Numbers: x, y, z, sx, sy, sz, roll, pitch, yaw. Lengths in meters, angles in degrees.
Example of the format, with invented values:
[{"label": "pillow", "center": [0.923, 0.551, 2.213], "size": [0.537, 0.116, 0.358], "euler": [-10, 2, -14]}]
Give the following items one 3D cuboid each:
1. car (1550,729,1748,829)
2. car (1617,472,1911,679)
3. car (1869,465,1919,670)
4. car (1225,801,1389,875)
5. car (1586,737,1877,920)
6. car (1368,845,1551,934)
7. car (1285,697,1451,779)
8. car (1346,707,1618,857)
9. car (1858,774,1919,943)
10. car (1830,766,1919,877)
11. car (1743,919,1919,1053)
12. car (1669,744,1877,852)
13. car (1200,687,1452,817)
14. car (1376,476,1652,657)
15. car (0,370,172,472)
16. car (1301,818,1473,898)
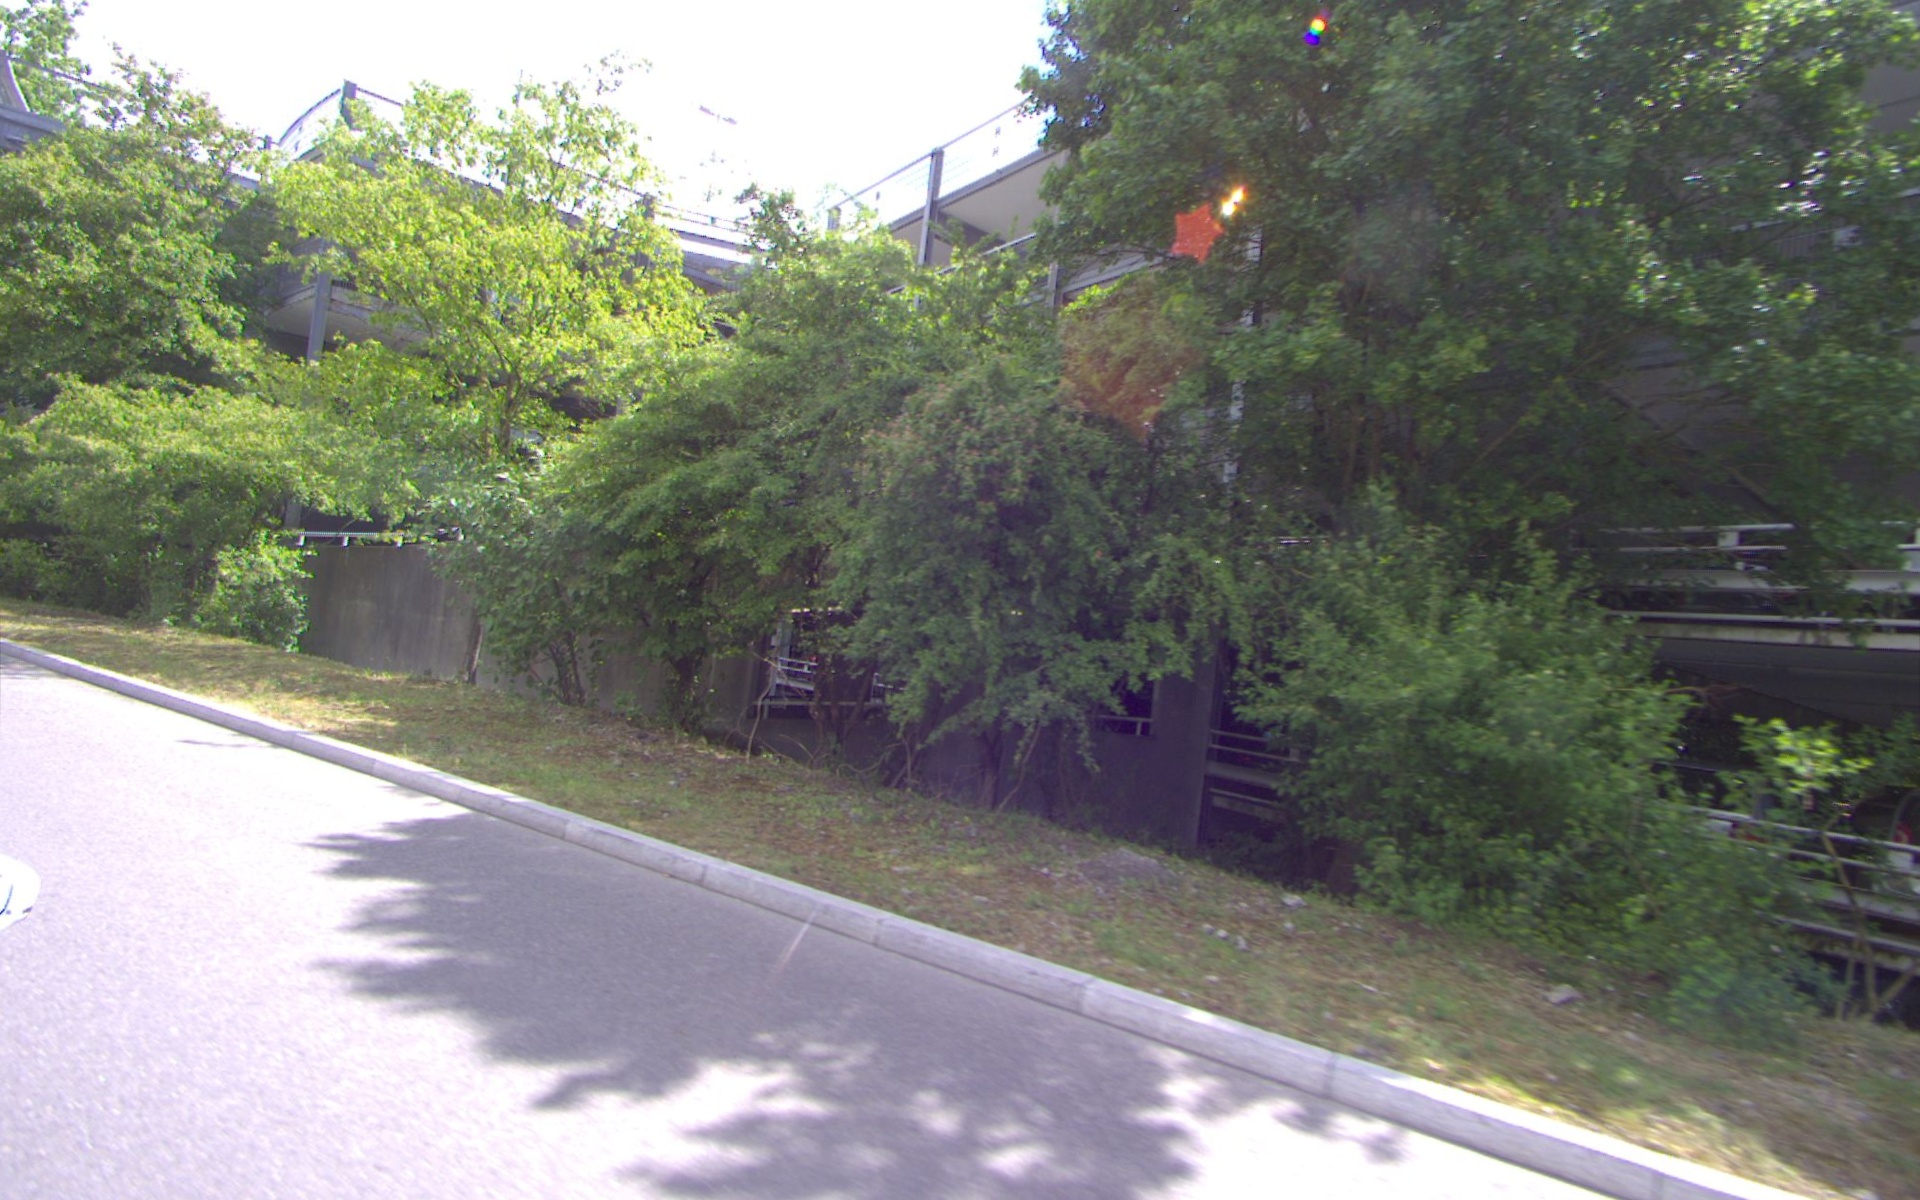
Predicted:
[{"label": "car", "center": [15.110, 3.934, 22.014], "size": [4.288, 1.649, 1.983], "euler": [10, -2, -33]}, {"label": "car", "center": [9.138, -0.189, 11.343], "size": [3.747, 1.643, 1.649], "euler": [10, -3, -38]}, {"label": "car", "center": [10.369, -0.111, 9.704], "size": [3.747, 1.643, 1.649], "euler": [10, -3, -38]}, {"label": "car", "center": [9.635, 6.588, 27.859], "size": [4.288, 1.506, 1.983], "euler": [10, -3, -33]}, {"label": "car", "center": [8.900, 2.552, 11.507], "size": [3.747, 1.508, 1.649], "euler": [10, -3, -38]}, {"label": "car", "center": [12.203, 6.985, 24.512], "size": [4.288, 1.506, 1.983], "euler": [10, -3, -33]}, {"label": "car", "center": [11.161, 3.772, 27.463], "size": [4.288, 1.649, 1.983], "euler": [10, -2, -33]}, {"label": "car", "center": [6.929, 2.393, 13.229], "size": [3.747, 1.486, 1.649], "euler": [10, -3, -38]}, {"label": "car", "center": [10.609, 2.691, 10.095], "size": [3.747, 1.480, 1.649], "euler": [10, -3, -38]}, {"label": "car", "center": [17.826, 4.114, 18.177], "size": [4.288, 1.649, 1.983], "euler": [10, -2, -33]}, {"label": "car", "center": [16.352, 6.888, 18.289], "size": [4.288, 1.434, 1.983], "euler": [10, -3, -33]}, {"label": "car", "center": [16.697, 4.074, 20.618], "size": [4.288, 1.649, 1.983], "euler": [10, -2, -33]}, {"label": "car", "center": [5.490, 2.290, 14.909], "size": [3.747, 1.486, 1.649], "euler": [10, -3, -38]}, {"label": "car", "center": [7.220, -0.349, 12.981], "size": [3.747, 1.643, 1.649], "euler": [10, -3, -38]}, {"label": "car", "center": [-19.061, -3.825, 21.191], "size": [3.674, 1.428, 1.643], "euler": [10, -1, -36]}, {"label": "car", "center": [11.173, 6.706, 26.274], "size": [4.288, 1.506, 1.983], "euler": [10, -3, -33]}]
